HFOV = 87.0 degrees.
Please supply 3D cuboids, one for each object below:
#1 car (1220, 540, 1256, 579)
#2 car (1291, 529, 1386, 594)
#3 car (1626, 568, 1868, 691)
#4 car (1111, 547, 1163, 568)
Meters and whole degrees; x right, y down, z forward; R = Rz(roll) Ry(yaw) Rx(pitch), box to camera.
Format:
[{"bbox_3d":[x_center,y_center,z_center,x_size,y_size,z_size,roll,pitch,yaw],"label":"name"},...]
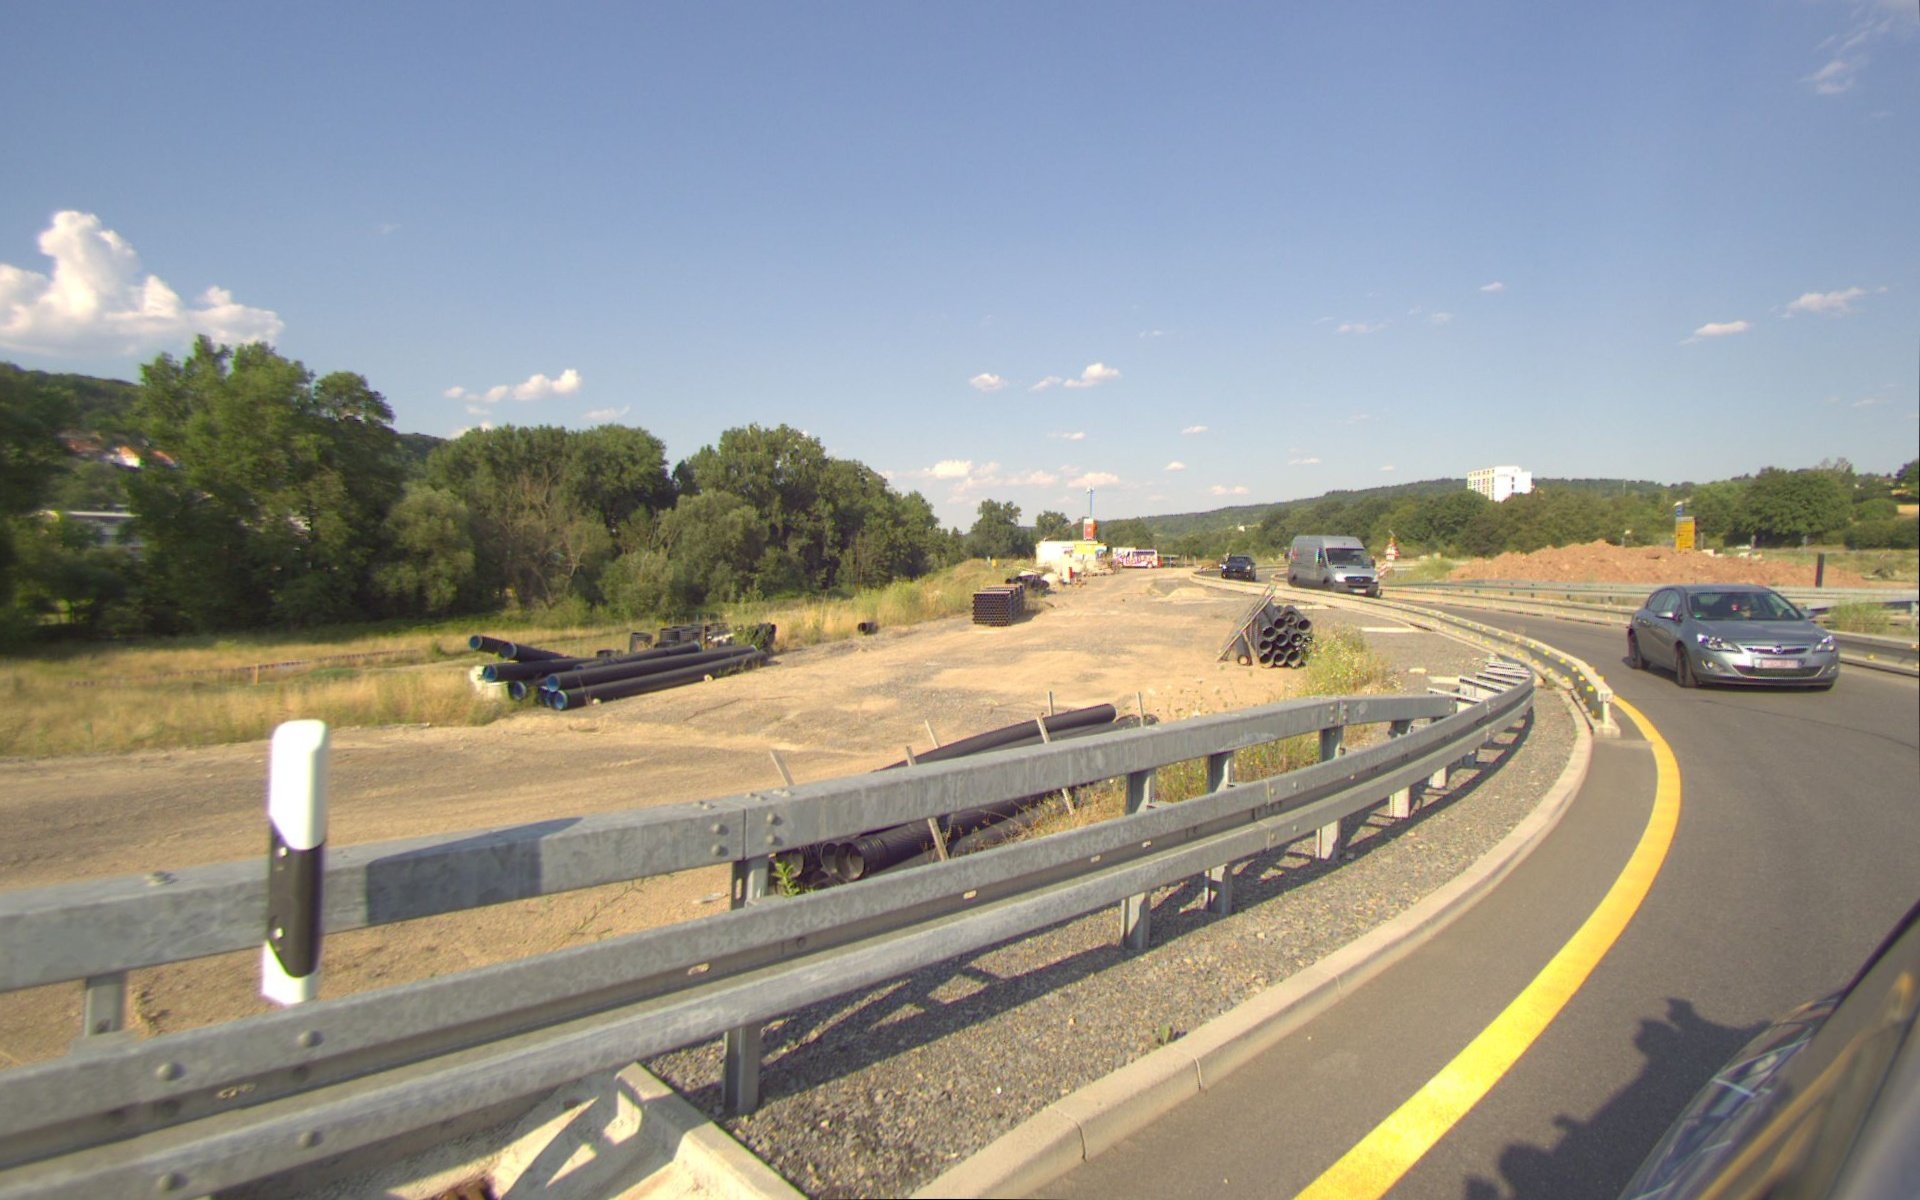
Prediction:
[{"bbox_3d":[18.176,-2.668,66.354,1.846,2.432,3.992,0,3,9],"label":"car"},{"bbox_3d":[15.773,-1.669,42.540,1.882,2.531,5.799,-1,3,1],"label":"car"},{"bbox_3d":[11.775,0.353,15.487,1.727,1.502,4.224,-2,2,21],"label":"car"},{"bbox_3d":[19.484,-4.702,111.537,5.220,2.104,2.488,-1,3,1],"label":"car"}]
